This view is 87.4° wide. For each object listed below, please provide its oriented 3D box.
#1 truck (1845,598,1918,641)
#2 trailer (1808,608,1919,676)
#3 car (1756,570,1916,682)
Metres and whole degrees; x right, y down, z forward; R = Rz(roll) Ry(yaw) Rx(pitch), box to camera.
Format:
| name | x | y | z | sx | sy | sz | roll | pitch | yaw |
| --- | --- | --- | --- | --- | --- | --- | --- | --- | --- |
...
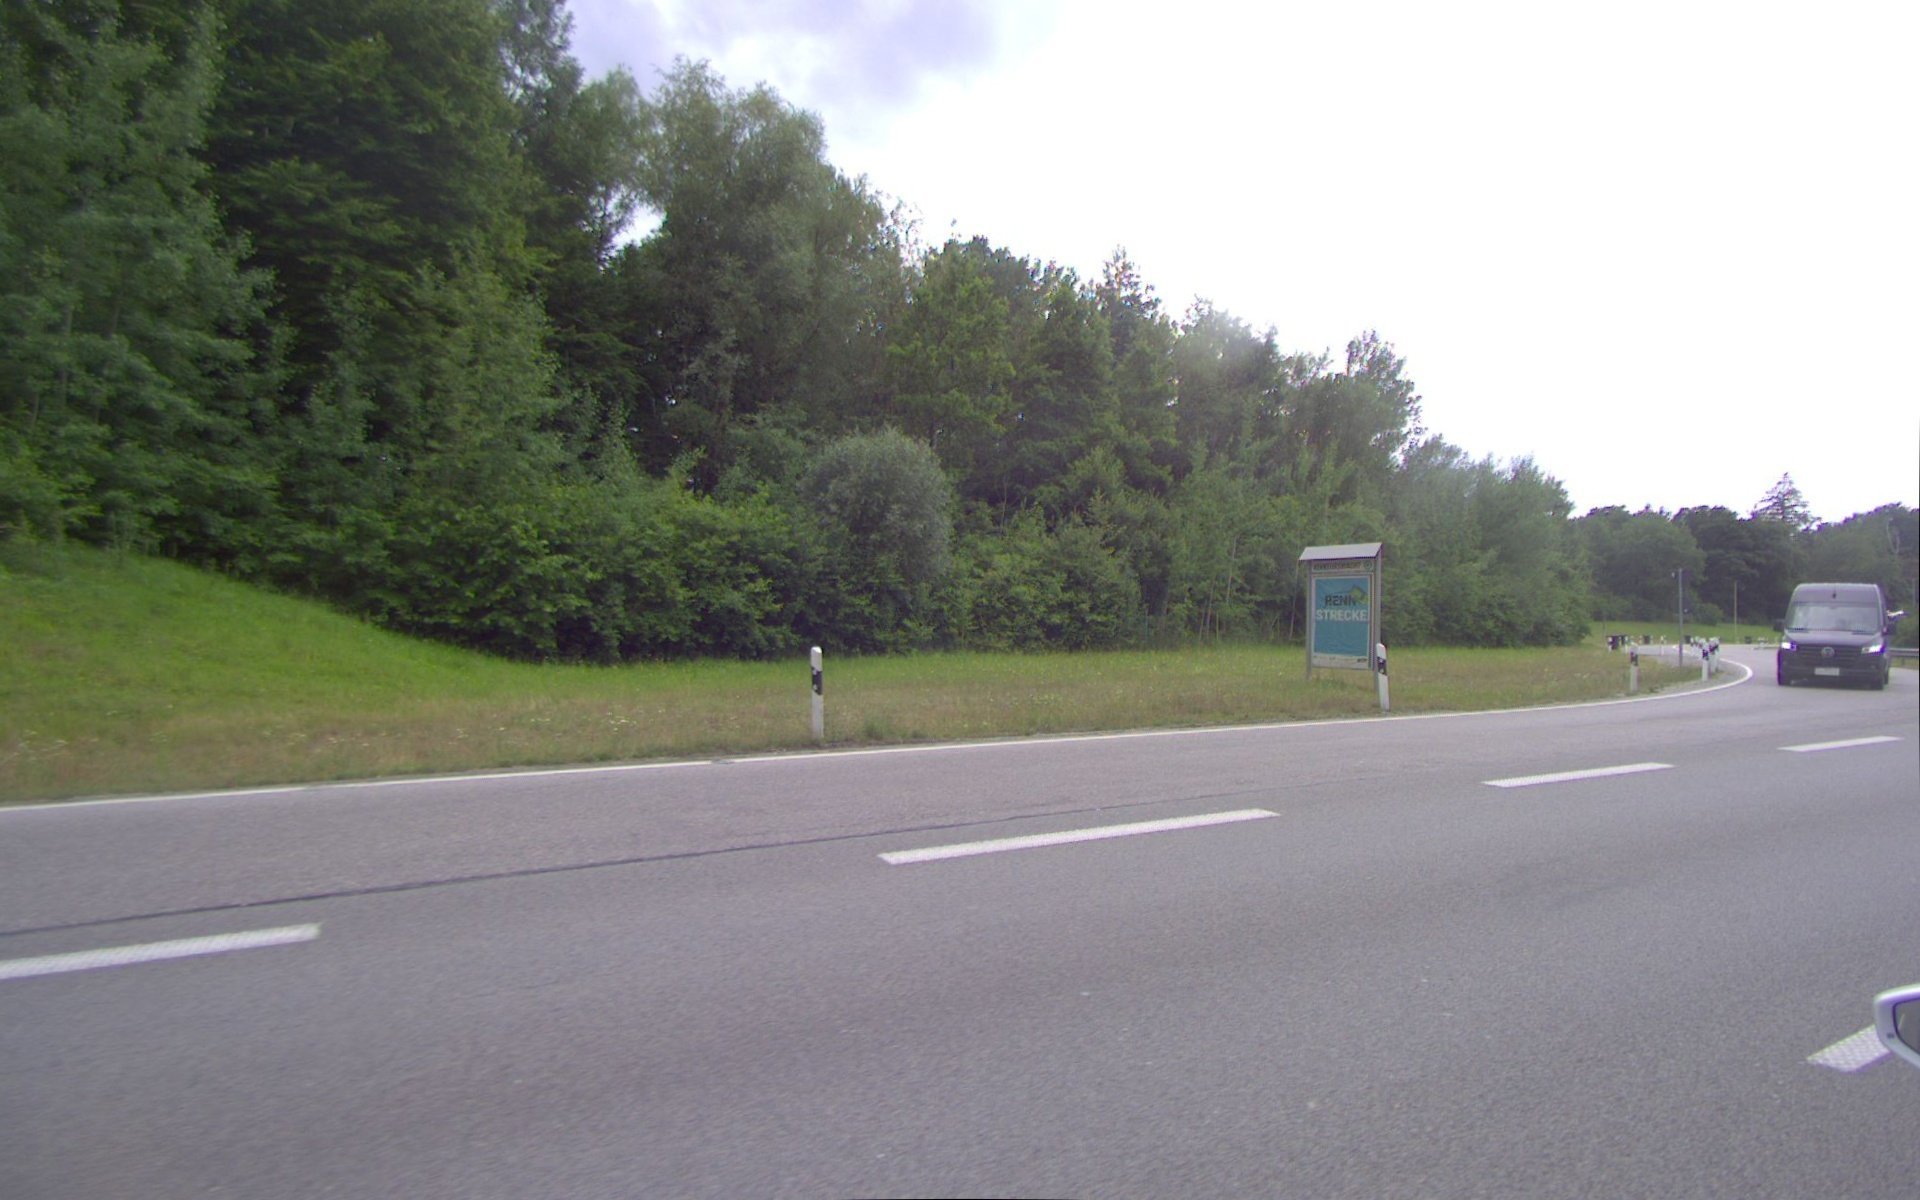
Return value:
| name | x | y | z | sx | sy | sz | roll | pitch | yaw |
| --- | --- | --- | --- | --- | --- | --- | --- | --- | --- |
| truck | 68.542 | 1.456 | 74.664 | 7.142 | 3.052 | 1.984 | 1 | 0 | -30 |
| trailer | 27.574 | 1.225 | 30.560 | 5.650 | 1.815 | 2.035 | 2 | 0 | -43 |
| car | 22.913 | 0.708 | 26.135 | 7.110 | 2.563 | 2.236 | 2 | -3 | -42 |
